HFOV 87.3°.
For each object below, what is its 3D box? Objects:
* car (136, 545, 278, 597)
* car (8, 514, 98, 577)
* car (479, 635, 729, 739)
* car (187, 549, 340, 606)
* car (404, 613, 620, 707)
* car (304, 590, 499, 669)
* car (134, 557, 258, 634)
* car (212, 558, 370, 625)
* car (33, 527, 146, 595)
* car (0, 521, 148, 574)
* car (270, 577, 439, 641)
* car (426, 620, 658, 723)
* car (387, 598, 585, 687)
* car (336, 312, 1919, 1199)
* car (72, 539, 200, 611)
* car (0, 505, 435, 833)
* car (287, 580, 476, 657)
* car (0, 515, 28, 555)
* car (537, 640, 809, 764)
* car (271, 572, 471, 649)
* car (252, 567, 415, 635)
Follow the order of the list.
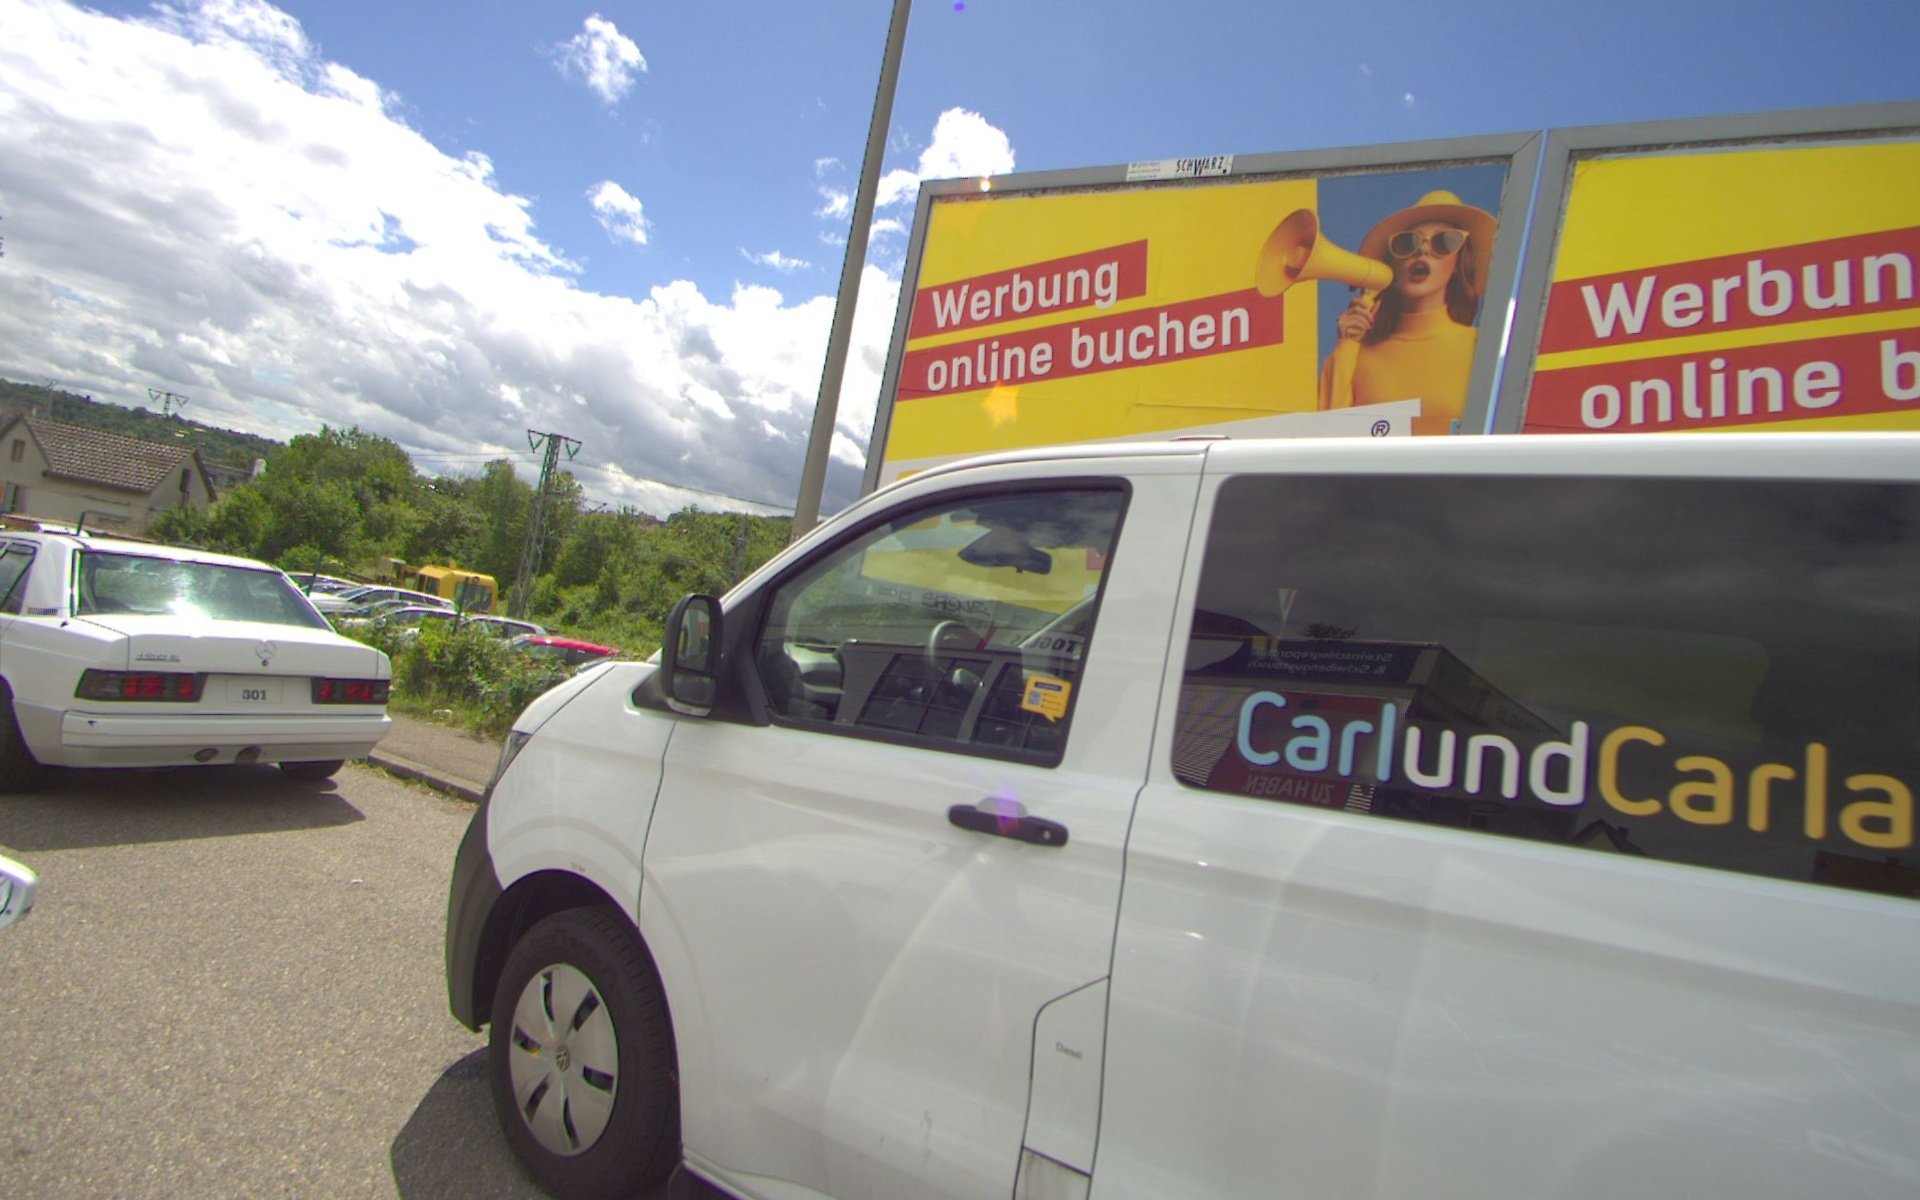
[{"bbox_3d":[-28.570,-1.083,38.236,4.158,1.407,1.770,8,-1,-41],"label":"car"},{"bbox_3d":[-31.713,-1.923,35.124,4.613,1.705,1.747,7,0,42],"label":"car"},{"bbox_3d":[-6.577,1.659,18.836,3.975,1.462,1.657,10,-2,-42],"label":"car"},{"bbox_3d":[-24.102,-0.745,34.919,1.721,1.407,4.022,7,-1,43],"label":"car"},{"bbox_3d":[-9.667,1.322,21.772,3.961,1.467,1.730,9,-2,-32],"label":"car"},{"bbox_3d":[-13.762,0.740,24.980,3.995,1.369,1.725,9,-2,-29],"label":"car"},{"bbox_3d":[-19.995,-0.152,26.269,4.095,1.462,1.694,7,-3,42],"label":"car"},{"bbox_3d":[-22.252,-0.248,33.573,1.772,1.630,3.982,7,-2,43],"label":"car"},{"bbox_3d":[-27.611,-1.249,31.872,4.397,1.641,1.811,7,0,38],"label":"car"},{"bbox_3d":[-33.411,-1.970,37.952,3.998,1.407,1.513,8,0,-29],"label":"car"},{"bbox_3d":[-18.260,0.291,30.469,1.732,1.345,3.982,7,-2,43],"label":"car"},{"bbox_3d":[-8.392,1.449,20.264,3.961,1.504,1.798,9,-2,-32],"label":"car"},{"bbox_3d":[-11.268,1.029,23.975,3.962,1.558,1.773,9,-2,-32],"label":"car"},{"bbox_3d":[1.091,0.721,2.296,5.457,2.027,1.978,7,-2,33],"label":"car"},{"bbox_3d":[-23.905,-0.743,29.128,4.512,1.536,1.751,7,0,37],"label":"car"},{"bbox_3d":[-5.319,0.223,6.307,4.136,1.403,1.640,7,-2,33],"label":"car"},{"bbox_3d":[-15.332,0.519,26.775,3.976,1.458,1.716,10,-2,-43],"label":"car"},{"bbox_3d":[-37.785,-2.761,37.464,3.988,1.405,1.737,11,-1,-18],"label":"car"},{"bbox_3d":[-4.800,1.775,17.157,3.975,1.654,1.697,9,-2,-41],"label":"car"},{"bbox_3d":[-16.792,0.338,28.859,1.972,1.572,4.444,7,-2,41],"label":"car"},{"bbox_3d":[-19.969,0.047,32.183,1.798,1.577,3.982,7,-2,43],"label":"car"}]
